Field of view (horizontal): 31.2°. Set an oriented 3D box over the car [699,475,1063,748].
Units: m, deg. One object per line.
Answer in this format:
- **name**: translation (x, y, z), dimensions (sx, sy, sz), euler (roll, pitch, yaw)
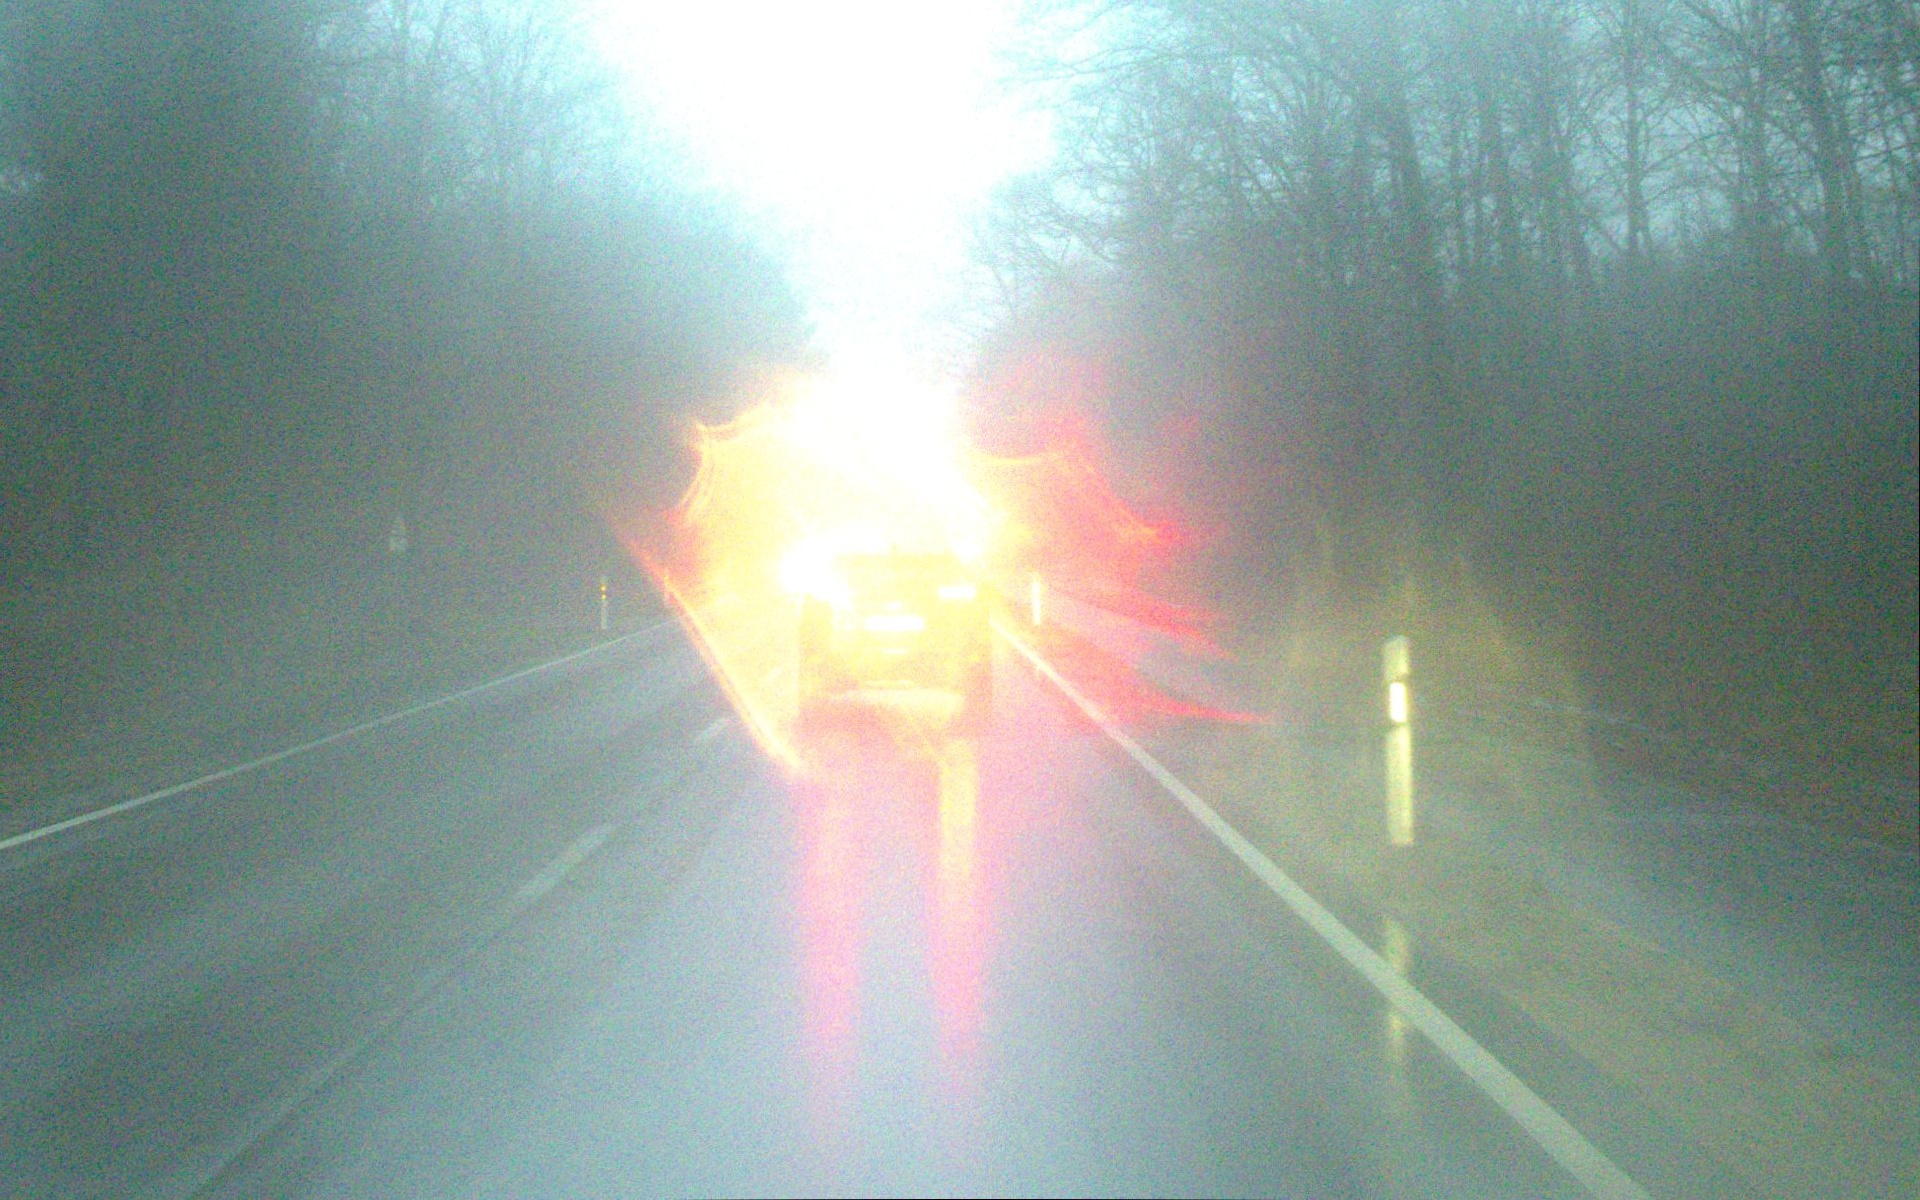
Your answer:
- **car**: translation (-0.694, 0.055, 33.656), dimensions (3.183, 2.378, 6.636), euler (1, 1, 0)
